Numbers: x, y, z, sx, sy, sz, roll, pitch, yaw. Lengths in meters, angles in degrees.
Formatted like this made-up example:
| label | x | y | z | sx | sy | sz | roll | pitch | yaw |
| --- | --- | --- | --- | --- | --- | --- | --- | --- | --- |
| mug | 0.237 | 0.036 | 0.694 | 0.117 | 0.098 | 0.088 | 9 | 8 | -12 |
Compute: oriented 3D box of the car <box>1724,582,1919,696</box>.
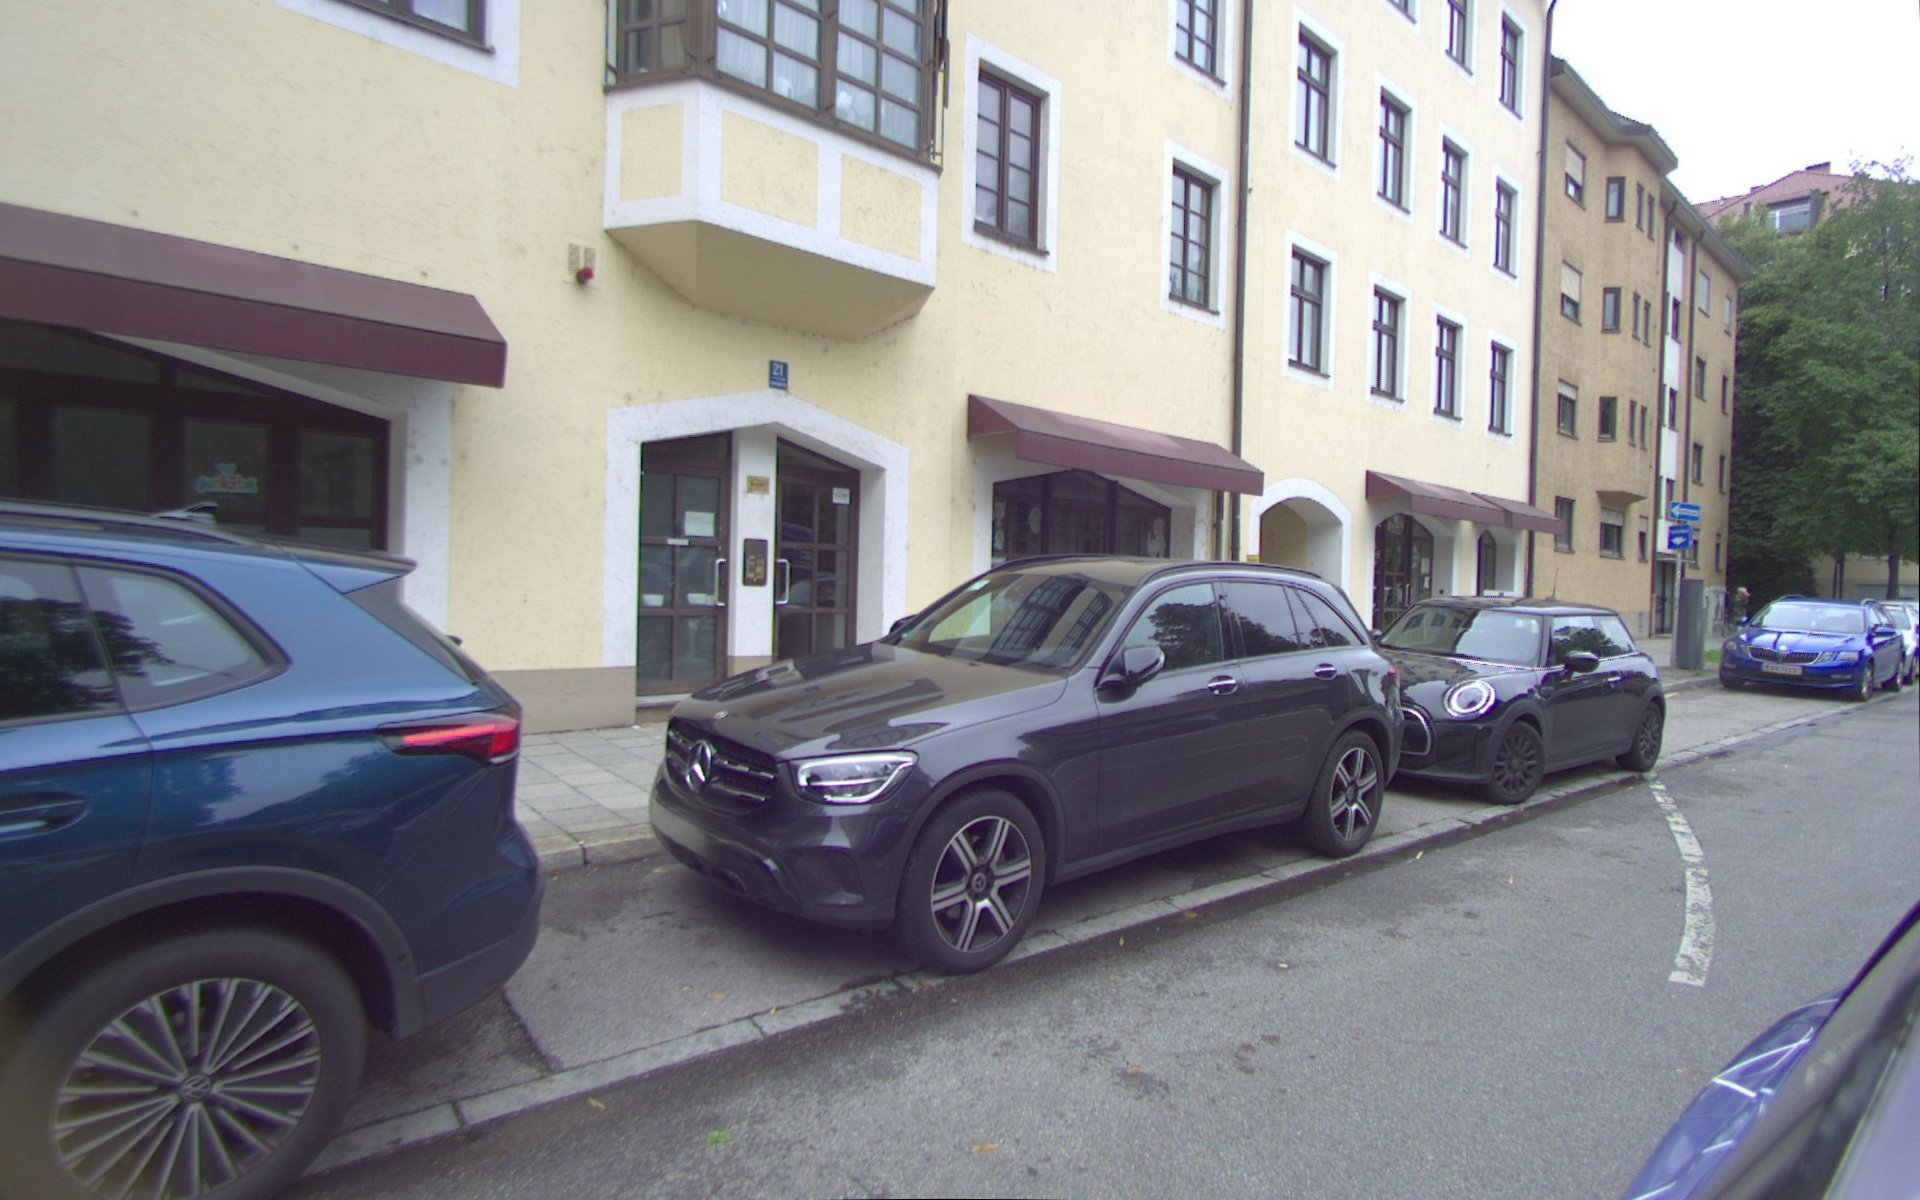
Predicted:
| label | x | y | z | sx | sy | sz | roll | pitch | yaw |
| --- | --- | --- | --- | --- | --- | --- | --- | --- | --- |
| car | 13.936 | 0.538 | 16.138 | 4.406 | 1.514 | 1.761 | 0 | 3 | -39 |

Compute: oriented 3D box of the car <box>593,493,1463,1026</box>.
| label | x | y | z | sx | sy | sz | roll | pitch | yaw |
| --- | --- | --- | --- | --- | --- | --- | --- | --- | --- |
| car | 0.690 | 0.466 | 5.372 | 4.622 | 1.700 | 1.761 | 0 | 3 | -39 |

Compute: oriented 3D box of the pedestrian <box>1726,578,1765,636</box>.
| label | x | y | z | sx | sy | sz | roll | pitch | yaw |
| --- | --- | --- | --- | --- | --- | --- | --- | --- | --- |
| pedestrian | 22.867 | 0.194 | 29.453 | 0.962 | 1.644 | 0.672 | -1 | 2 | -38 |

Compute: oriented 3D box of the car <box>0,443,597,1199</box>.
| label | x | y | z | sx | sy | sz | roll | pitch | yaw |
| --- | --- | --- | --- | --- | --- | --- | --- | --- | --- |
| car | -3.240 | 0.499 | 1.927 | 4.433 | 1.700 | 1.822 | 0 | 3 | -42 |

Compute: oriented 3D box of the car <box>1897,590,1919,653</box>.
| label | x | y | z | sx | sy | sz | roll | pitch | yaw |
| --- | --- | --- | --- | --- | --- | --- | --- | --- | --- |
| car | 25.108 | 0.564 | 25.507 | 3.752 | 1.514 | 1.632 | 0 | 3 | -39 |

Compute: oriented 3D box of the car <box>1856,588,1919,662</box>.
| label | x | y | z | sx | sy | sz | roll | pitch | yaw |
| --- | --- | --- | --- | --- | --- | --- | --- | --- | --- |
| car | 21.582 | 0.537 | 22.662 | 3.718 | 1.514 | 1.632 | 0 | 3 | -39 |

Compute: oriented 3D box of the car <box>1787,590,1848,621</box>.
| label | x | y | z | sx | sy | sz | roll | pitch | yaw |
| --- | --- | --- | --- | --- | --- | --- | --- | --- | --- |
| car | 43.698 | 0.265 | 51.551 | 4.174 | 1.485 | 1.914 | 0 | 2 | -44 |

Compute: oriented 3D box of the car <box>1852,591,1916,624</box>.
| label | x | y | z | sx | sy | sz | roll | pitch | yaw |
| --- | --- | --- | --- | --- | --- | --- | --- | --- | --- |
| car | 45.611 | 0.344 | 49.934 | 4.174 | 1.485 | 2.050 | 0 | 2 | -44 |

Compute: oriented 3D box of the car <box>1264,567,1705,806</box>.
| label | x | y | z | sx | sy | sz | roll | pitch | yaw |
| --- | --- | --- | --- | --- | --- | --- | --- | --- | --- |
| car | 4.475 | 0.556 | 8.470 | 3.751 | 1.514 | 1.762 | 0 | 3 | -37 |

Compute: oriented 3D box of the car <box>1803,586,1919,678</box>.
| label | x | y | z | sx | sy | sz | roll | pitch | yaw |
| --- | --- | --- | --- | --- | --- | --- | --- | --- | --- |
| car | 17.823 | 0.555 | 19.424 | 4.355 | 1.514 | 1.695 | 0 | 3 | -40 |
